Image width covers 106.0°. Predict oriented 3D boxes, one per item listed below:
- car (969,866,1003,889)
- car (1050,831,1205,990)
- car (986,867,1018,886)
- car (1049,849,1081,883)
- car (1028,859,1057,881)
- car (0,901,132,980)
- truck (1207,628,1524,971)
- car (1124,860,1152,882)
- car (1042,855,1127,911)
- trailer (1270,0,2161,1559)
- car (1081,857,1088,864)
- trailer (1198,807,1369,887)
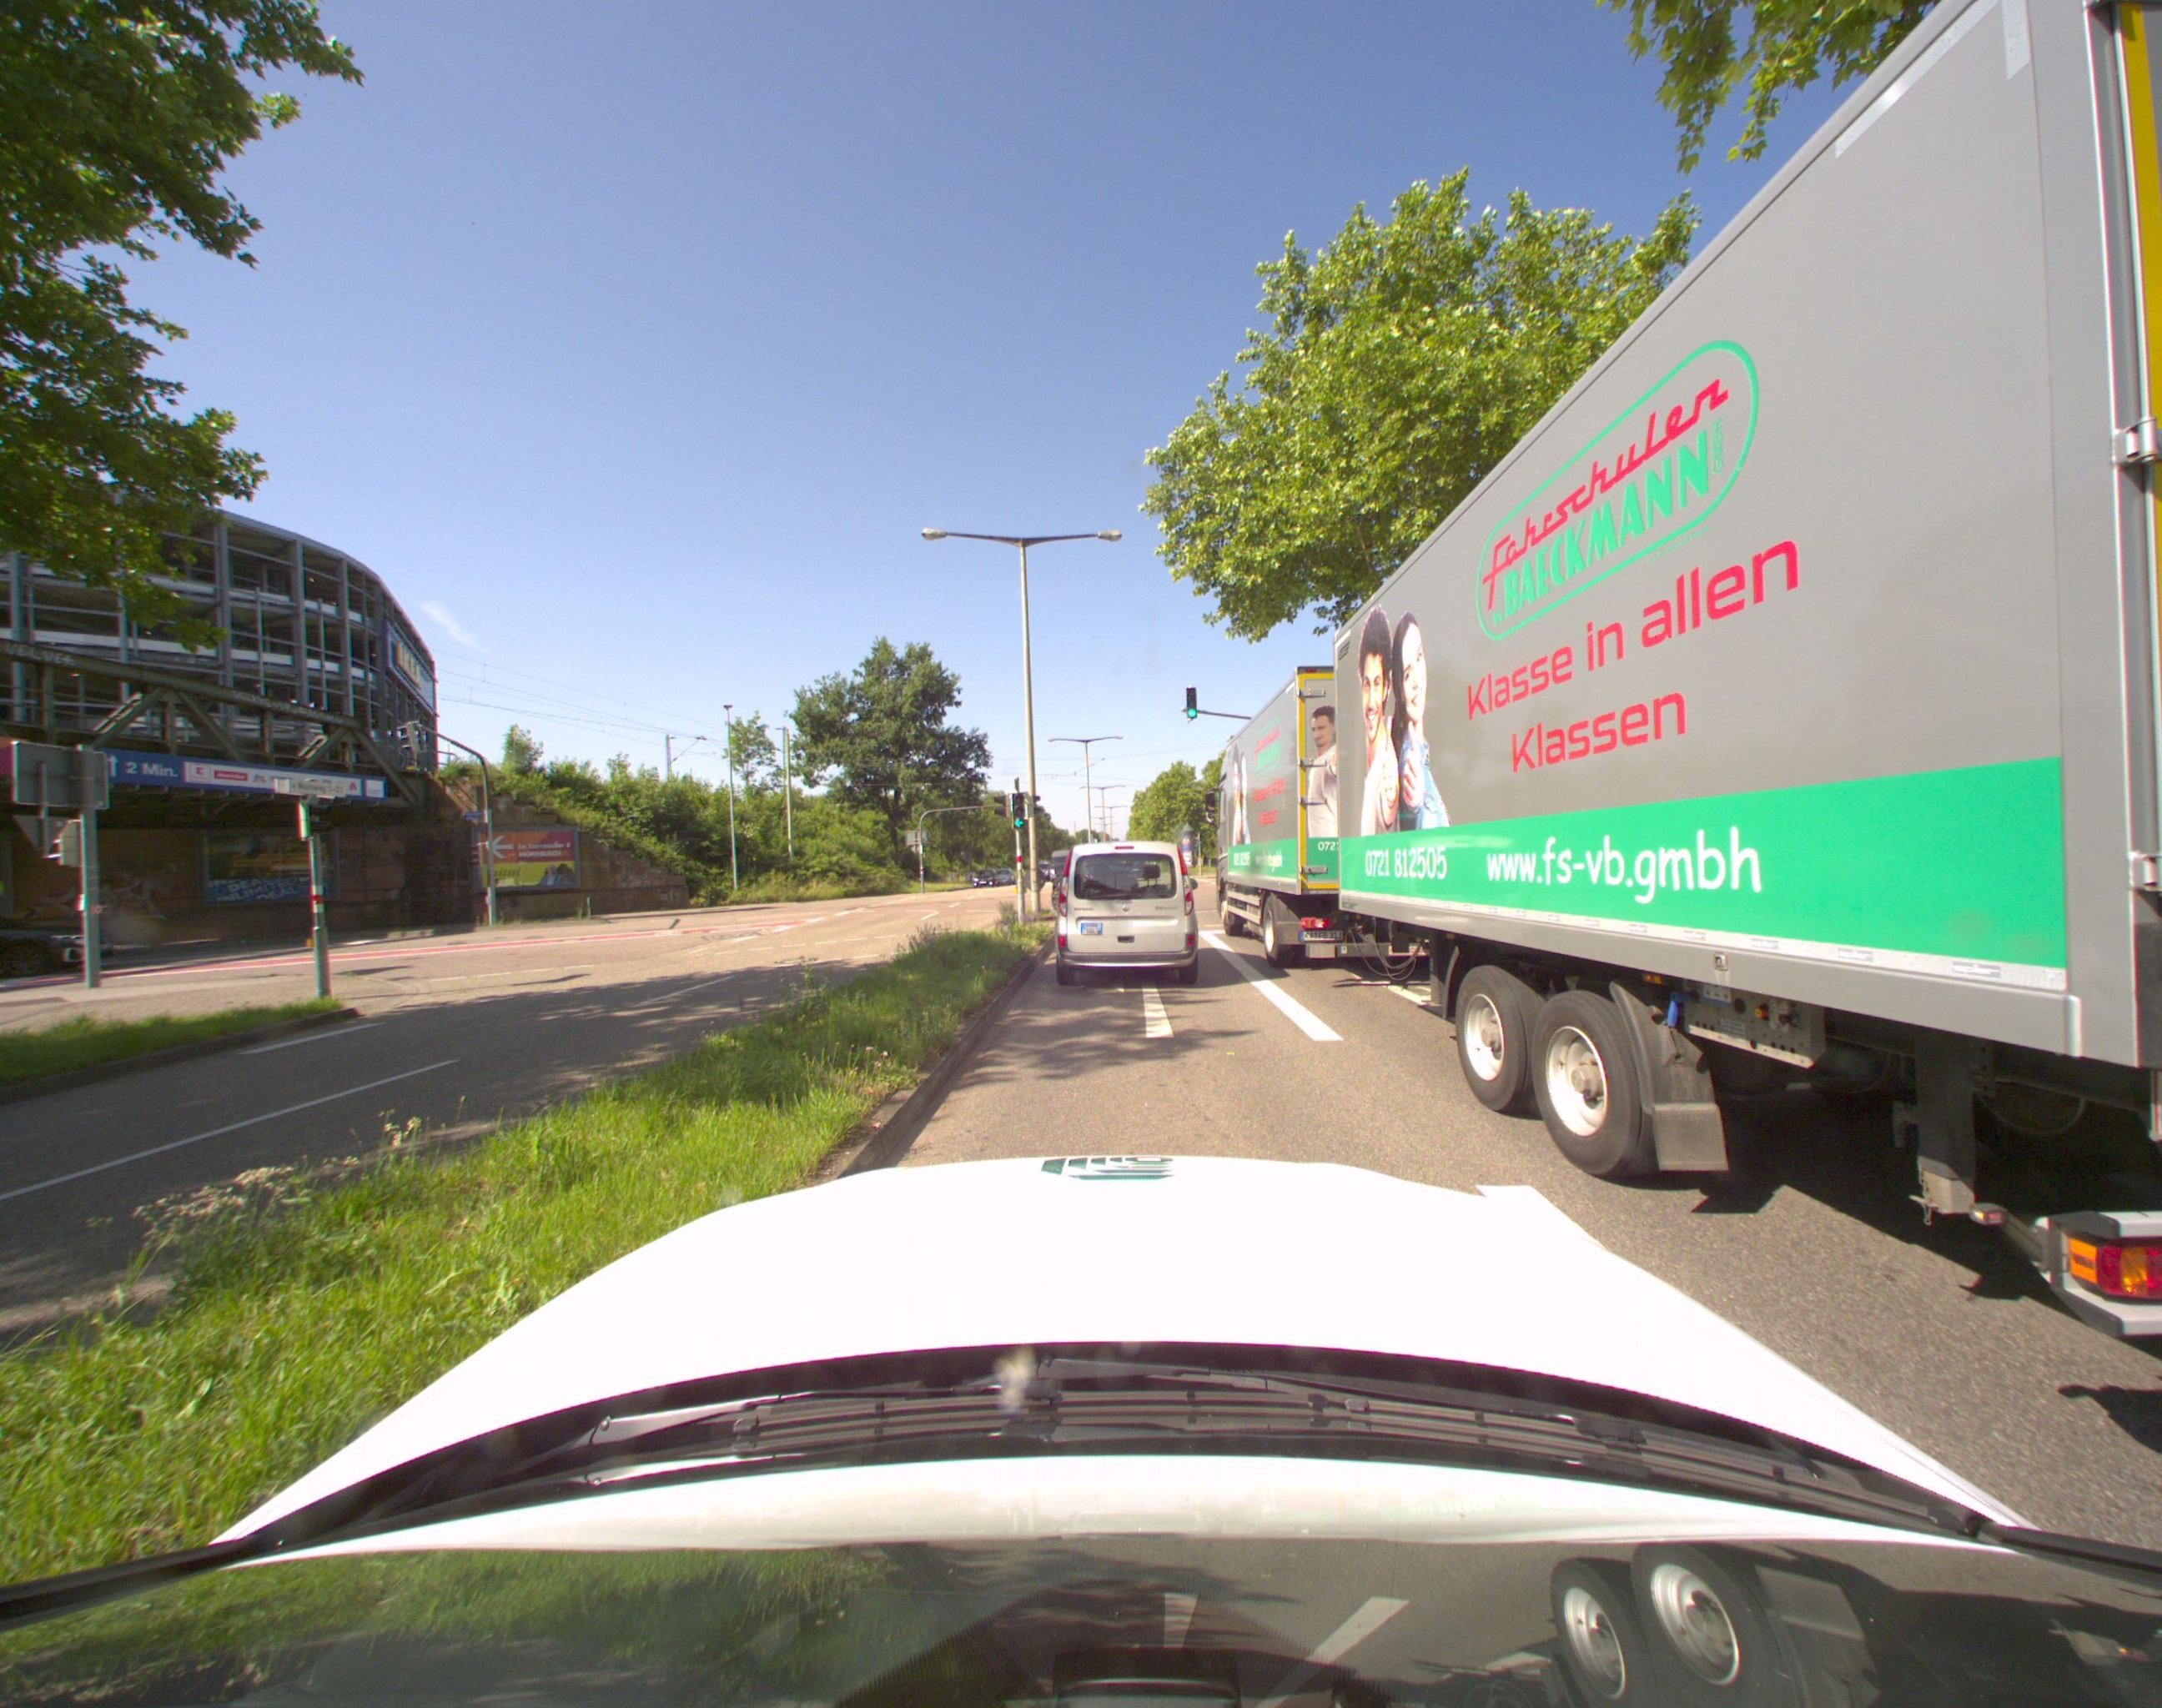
[{"bbox_3d":[-7.346,1.820,63.338,1.903,1.641,3.741,-3,-1,4],"label":"car"},{"bbox_3d":[0.584,0.686,11.480,1.780,1.838,4.000,0,-1,1],"label":"car"},{"bbox_3d":[-6.787,1.920,70.565,1.985,1.540,4.240,-3,-1,4],"label":"car"},{"bbox_3d":[-1.270,0.996,67.247,1.985,2.607,5.139,-3,-1,4],"label":"car"},{"bbox_3d":[-3.465,1.486,74.681,1.985,1.870,4.778,-3,-1,4],"label":"car"},{"bbox_3d":[-26.075,2.141,19.437,4.015,1.646,1.885,-4,1,-33],"label":"car"},{"bbox_3d":[3.943,-0.558,13.792,2.717,3.890,8.730,-2,-1,4],"label":"truck"},{"bbox_3d":[4.294,1.277,60.915,1.984,1.585,4.461,-1,-1,4],"label":"car"},{"bbox_3d":[0.219,0.921,28.007,1.917,1.662,4.245,-3,0,14],"label":"car"},{"bbox_3d":[3.403,-0.497,5.503,2.725,3.877,7.741,-2,-1,3],"label":"trailer"},{"bbox_3d":[0.973,2.051,252.390,1.880,2.014,4.003,-1,-1,3],"label":"car"},{"bbox_3d":[10.999,-0.251,42.728,2.873,3.623,12.762,-2,-2,43],"label":"trailer"}]
